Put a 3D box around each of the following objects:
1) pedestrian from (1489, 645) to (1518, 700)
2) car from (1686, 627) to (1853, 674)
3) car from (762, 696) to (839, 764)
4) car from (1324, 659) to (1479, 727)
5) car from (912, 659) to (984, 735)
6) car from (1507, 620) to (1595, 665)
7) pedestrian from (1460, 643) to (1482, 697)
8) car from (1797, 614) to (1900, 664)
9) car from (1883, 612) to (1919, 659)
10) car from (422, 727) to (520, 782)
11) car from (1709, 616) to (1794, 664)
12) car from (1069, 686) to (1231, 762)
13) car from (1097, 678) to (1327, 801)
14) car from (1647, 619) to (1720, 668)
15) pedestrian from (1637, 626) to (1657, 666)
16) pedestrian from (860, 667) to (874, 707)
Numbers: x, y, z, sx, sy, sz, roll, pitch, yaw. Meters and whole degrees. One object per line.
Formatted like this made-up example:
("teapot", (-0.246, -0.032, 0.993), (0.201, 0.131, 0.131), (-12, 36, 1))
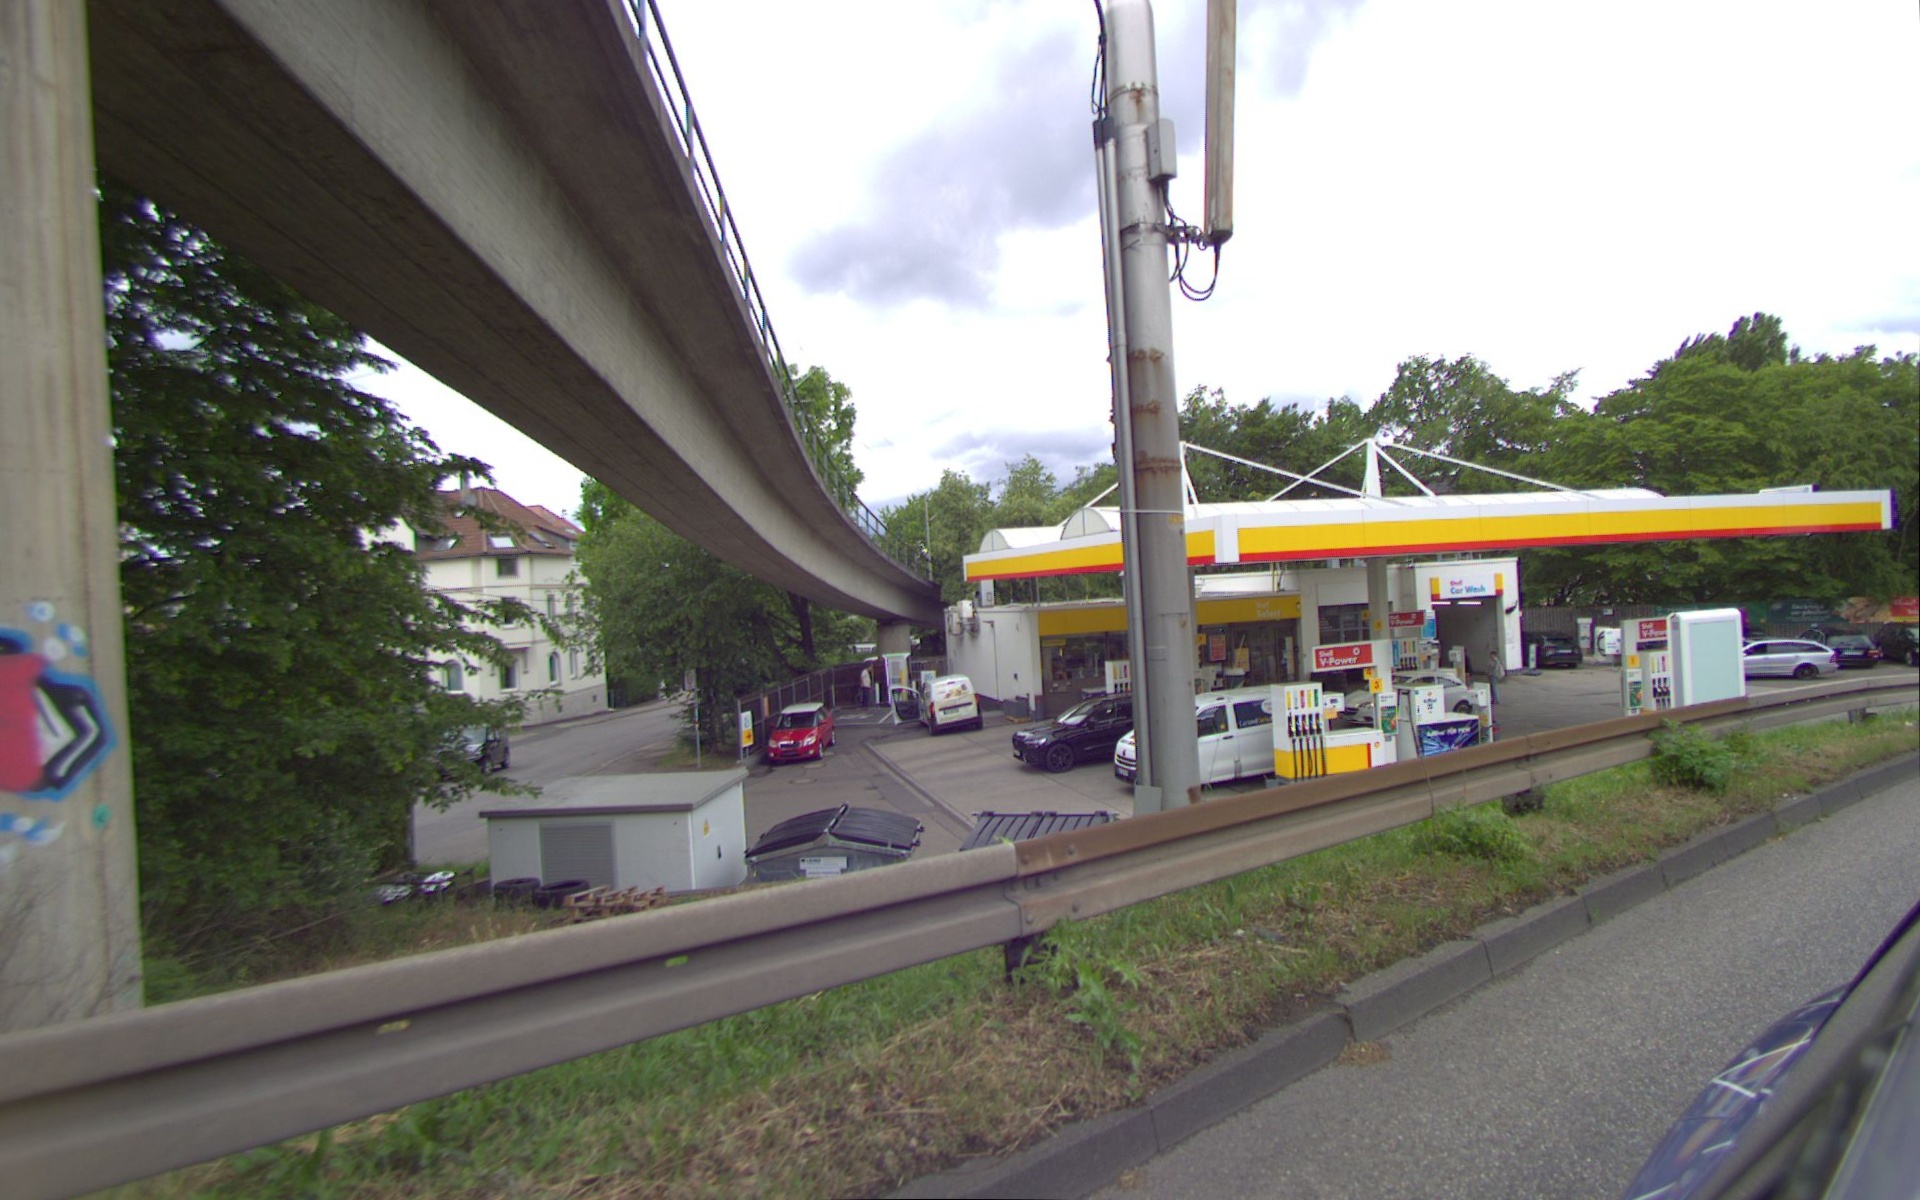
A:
("pedestrian", (17.500, 2.321, 32.606), (0.597, 1.726, 0.545), (0, 0, -20))
("car", (28.334, 1.765, 35.555), (4.238, 1.449, 1.592), (-2, 2, 19))
("car", (-4.979, 4.053, 31.991), (1.628, 1.476, 3.626), (-3, 2, 3))
("car", (12.791, 2.657, 29.386), (3.797, 1.504, 1.744), (-4, 1, -15))
("car", (-0.477, 3.278, 35.083), (1.706, 1.961, 3.885), (-7, 2, -9))
("car", (24.392, 1.720, 41.914), (1.695, 1.453, 4.098), (-2, 3, 9))
("pedestrian", (16.675, 2.282, 33.049), (0.423, 1.726, 0.493), (-1, 0, -6))
("car", (33.369, 1.427, 38.130), (1.717, 1.453, 4.258), (-4, 1, 26))
("car", (35.585, 1.322, 36.736), (1.716, 1.444, 4.260), (-4, 1, 24))
("car", (-16.526, 5.205, 34.385), (1.572, 1.367, 3.584), (-5, -3, 0))
("car", (31.021, 1.524, 39.783), (1.717, 1.453, 4.183), (-1, 3, 26))
("car", (5.013, 3.253, 26.856), (3.797, 1.504, 1.745), (-2, 2, -12))
("car", (5.614, 3.028, 22.610), (4.615, 2.035, 1.744), (-4, 1, -15))
("car", (28.346, 1.651, 39.778), (1.612, 1.538, 4.066), (-1, 2, 26))
("pedestrian", (27.021, 1.820, 39.823), (0.464, 1.559, 0.428), (-4, -4, 23))
("pedestrian", (-3.923, 3.647, 42.688), (0.498, 1.615, 0.426), (-3, 2, -3))
